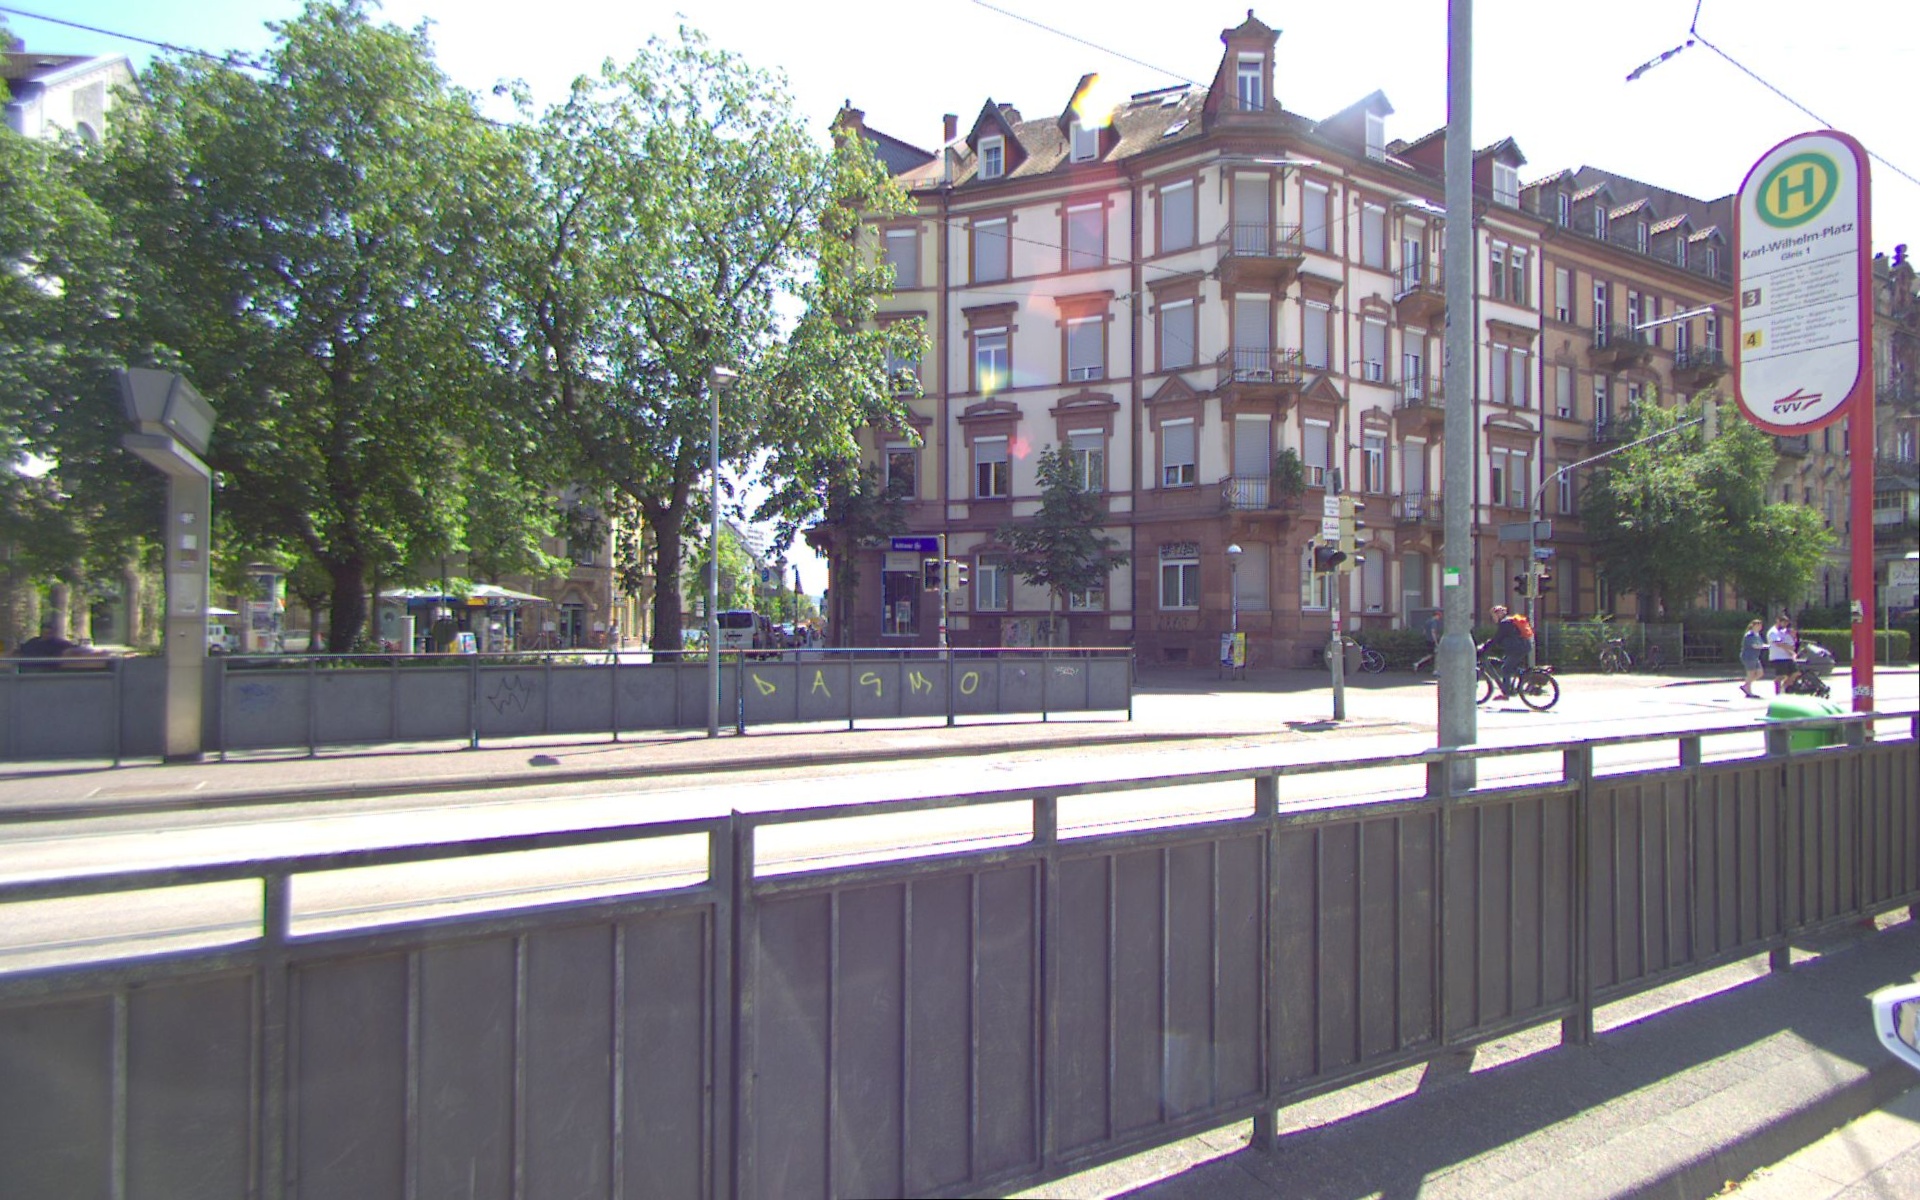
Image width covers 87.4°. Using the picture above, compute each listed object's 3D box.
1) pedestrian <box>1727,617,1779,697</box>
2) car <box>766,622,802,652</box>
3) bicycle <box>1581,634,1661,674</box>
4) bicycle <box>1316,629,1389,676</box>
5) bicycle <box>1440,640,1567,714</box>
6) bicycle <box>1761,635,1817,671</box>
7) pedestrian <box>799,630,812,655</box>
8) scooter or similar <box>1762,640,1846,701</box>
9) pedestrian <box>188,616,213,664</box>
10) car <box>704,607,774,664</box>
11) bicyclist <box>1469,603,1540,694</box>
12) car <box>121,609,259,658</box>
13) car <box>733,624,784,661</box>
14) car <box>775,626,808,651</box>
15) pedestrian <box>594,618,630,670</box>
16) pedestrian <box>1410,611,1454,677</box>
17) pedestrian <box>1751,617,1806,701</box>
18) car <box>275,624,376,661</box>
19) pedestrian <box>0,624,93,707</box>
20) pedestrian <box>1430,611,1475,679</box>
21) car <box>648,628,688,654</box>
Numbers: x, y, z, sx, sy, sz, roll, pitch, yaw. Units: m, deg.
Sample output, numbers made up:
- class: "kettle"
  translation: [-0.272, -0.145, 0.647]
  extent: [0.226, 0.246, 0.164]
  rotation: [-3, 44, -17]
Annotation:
- class: "pedestrian"
  translation: [17.101, 1.217, 21.664]
  extent: [0.551, 1.667, 0.673]
  rotation: [2, 0, -25]
- class: "car"
  translation: [-10.380, 2.165, 59.452]
  extent: [1.684, 1.617, 3.998]
  rotation: [2, 0, -4]
- class: "bicycle"
  translation: [20.222, 1.641, 30.715]
  extent: [2.742, 1.151, 0.932]
  rotation: [2, 0, -31]
- class: "bicycle"
  translation: [11.659, 1.552, 29.861]
  extent: [1.923, 1.312, 0.564]
  rotation: [2, 0, 11]
- class: "bicycle"
  translation: [9.709, 1.349, 18.010]
  extent: [0.642, 1.188, 1.907]
  rotation: [2, -1, -36]
- class: "bicycle"
  translation: [28.503, 1.798, 34.504]
  extent: [2.750, 1.151, 0.930]
  rotation: [2, 0, -39]
- class: "pedestrian"
  translation: [-10.215, 2.810, 66.528]
  extent: [0.790, 1.632, 0.731]
  rotation: [0, -1, -4]
- class: "scooter or similar"
  translation: [17.471, 1.454, 20.818]
  extent: [0.551, 1.170, 1.198]
  rotation: [2, 0, -24]
- class: "pedestrian"
  translation: [-27.055, 1.407, 35.774]
  extent: [0.506, 1.692, 0.491]
  rotation: [0, -1, -8]
- class: "car"
  translation: [-8.335, 1.290, 38.215]
  extent: [1.962, 1.970, 3.998]
  rotation: [2, 0, -4]
- class: "bicyclist"
  translation: [9.706, 0.846, 17.921]
  extent: [0.716, 1.582, 0.889]
  rotation: [2, -1, -37]
- class: "car"
  translation: [-31.195, 1.355, 40.813]
  extent: [3.932, 1.814, 1.994]
  rotation: [2, 0, -14]
- class: "car"
  translation: [-9.632, 2.000, 48.287]
  extent: [1.893, 1.541, 3.998]
  rotation: [2, 0, -4]
- class: "car"
  translation: [-12.491, 2.830, 74.756]
  extent: [1.962, 1.617, 3.998]
  rotation: [2, 0, -4]
- class: "pedestrian"
  translation: [-11.674, 1.469, 33.701]
  extent: [1.043, 1.712, 0.721]
  rotation: [0, -1, -12]
- class: "pedestrian"
  translation: [13.553, 1.240, 28.860]
  extent: [0.856, 1.847, 0.819]
  rotation: [0, 1, 2]
- class: "pedestrian"
  translation: [16.711, 1.194, 20.504]
  extent: [0.551, 1.667, 0.673]
  rotation: [2, 0, -25]
- class: "car"
  translation: [-32.083, 2.146, 50.888]
  extent: [3.920, 1.730, 1.761]
  rotation: [2, 0, -14]
- class: "pedestrian"
  translation: [-14.666, 1.036, 16.103]
  extent: [0.925, 1.261, 0.860]
  rotation: [2, 0, -24]
- class: "pedestrian"
  translation: [13.779, 1.243, 28.102]
  extent: [0.856, 1.847, 0.819]
  rotation: [0, 1, 2]
- class: "car"
  translation: [-20.667, 2.902, 71.161]
  extent: [1.846, 1.617, 3.998]
  rotation: [2, 0, -4]
